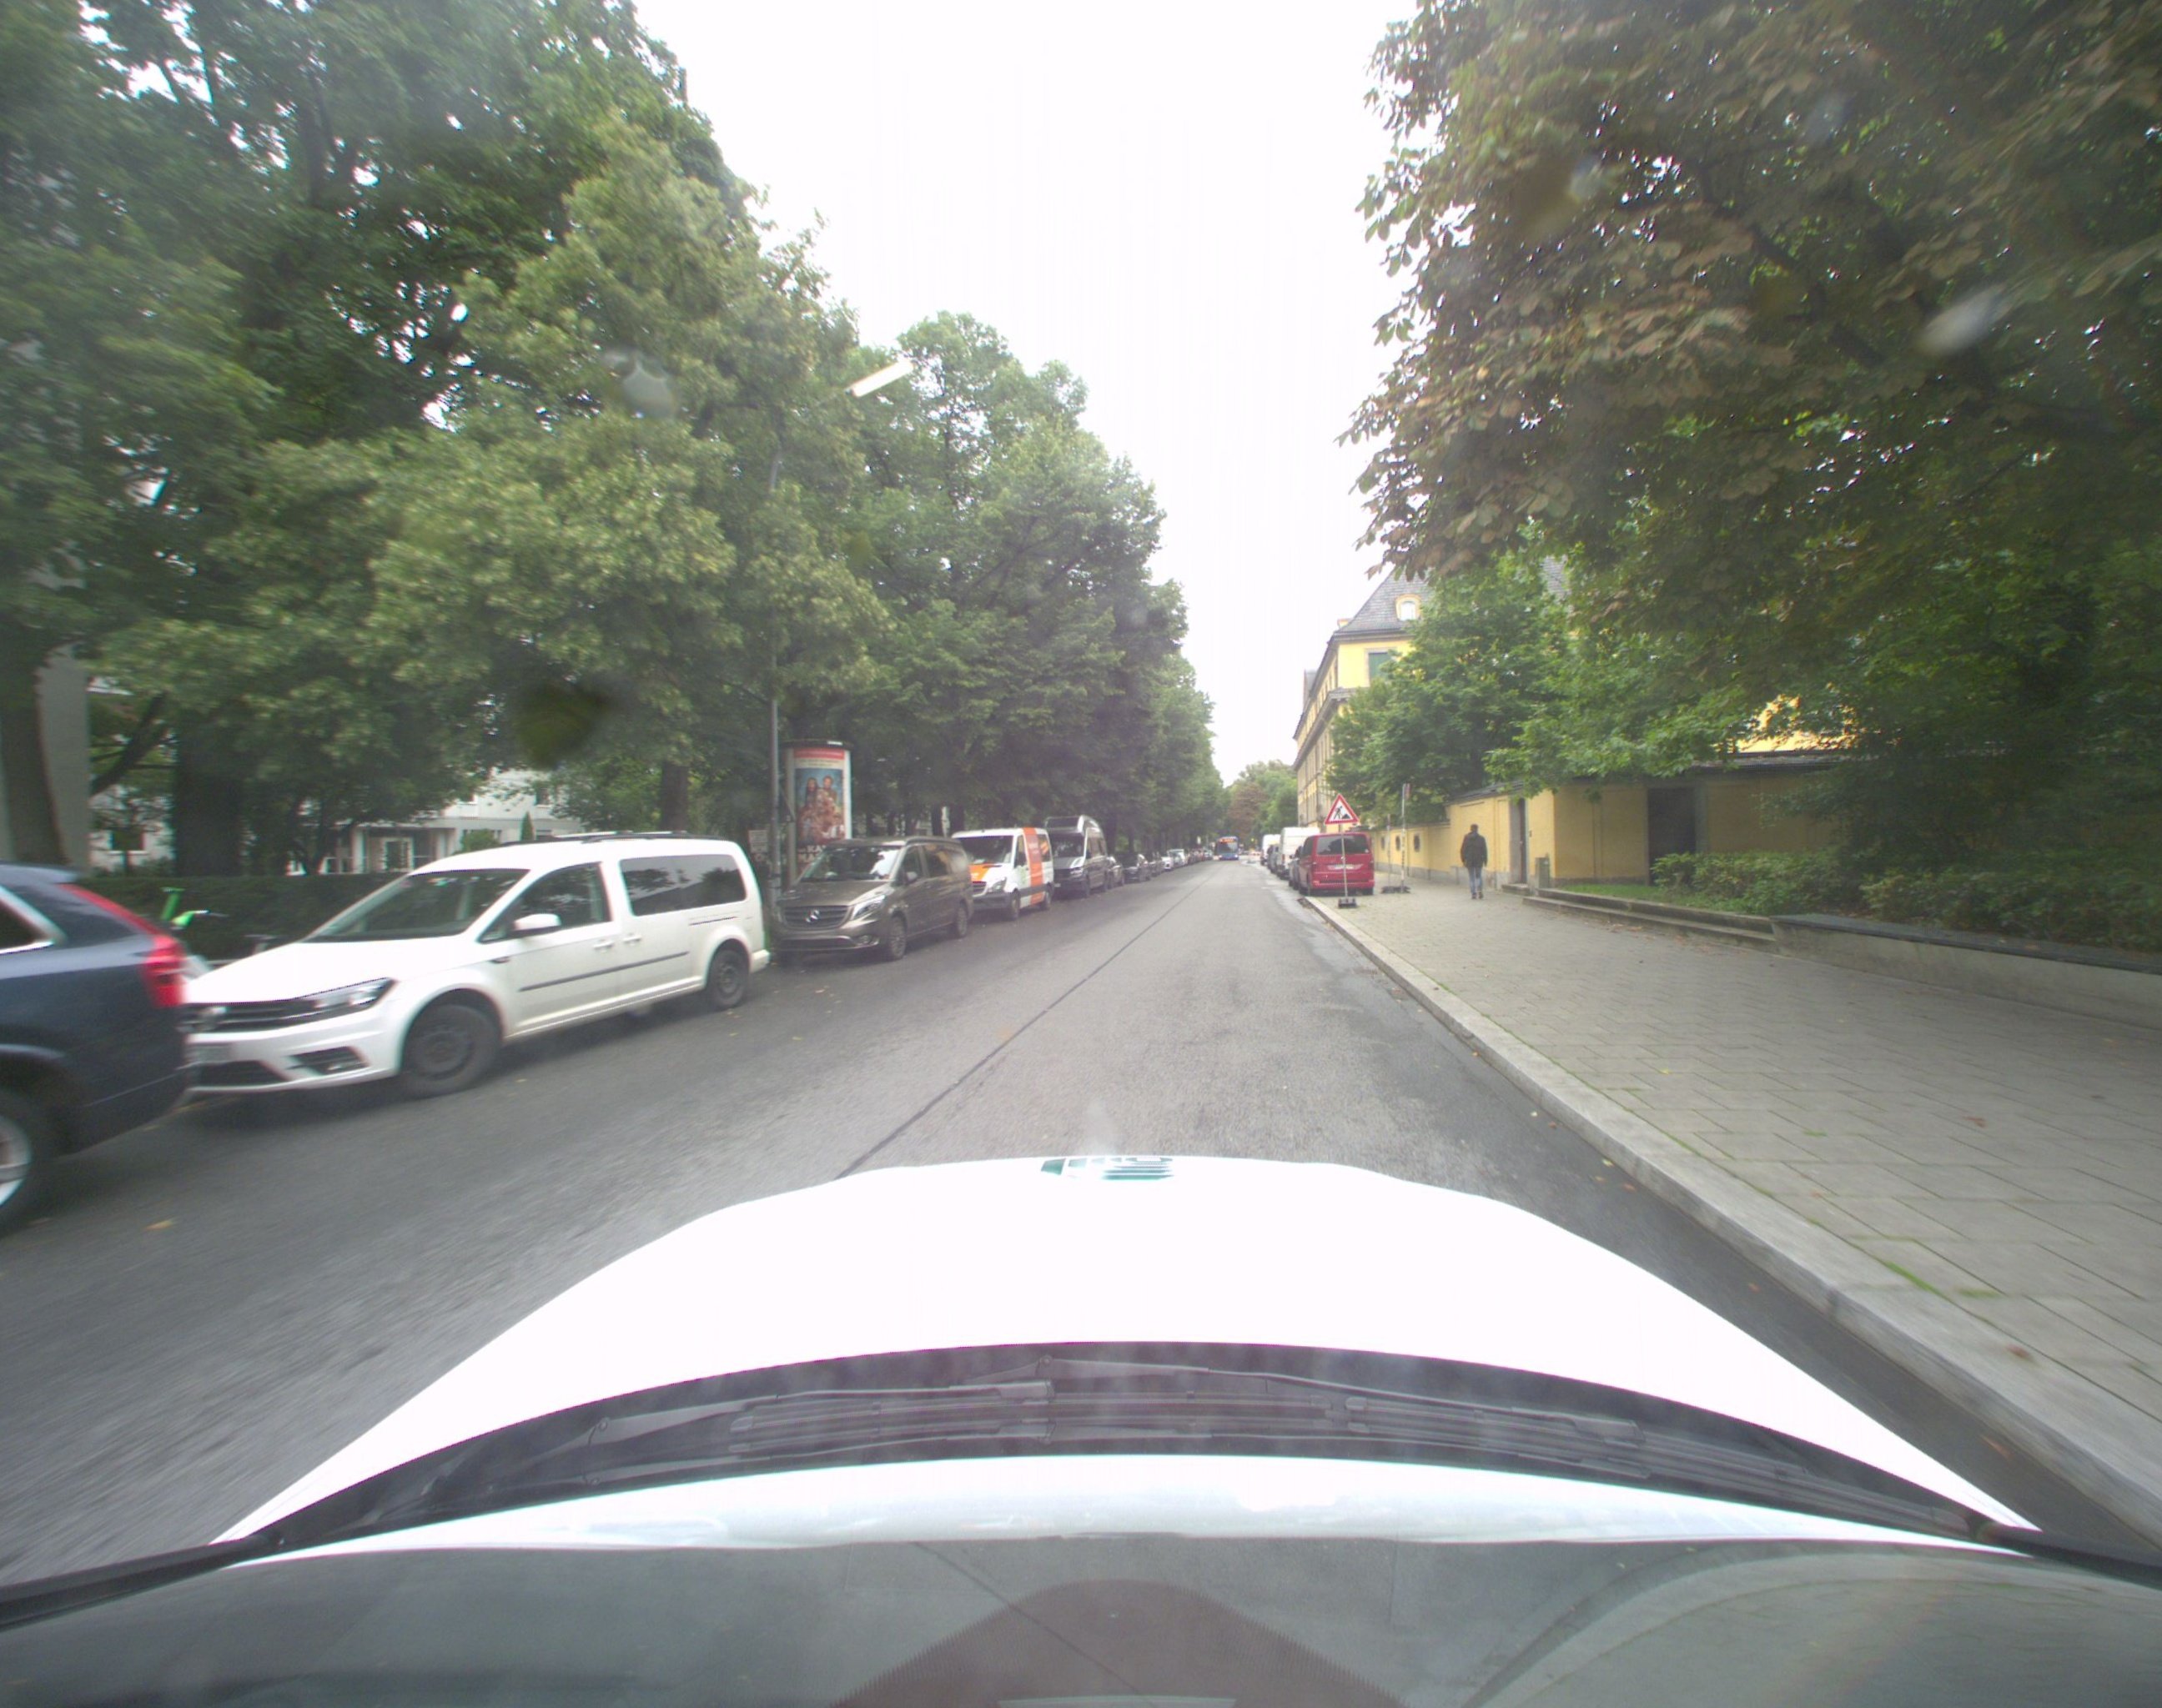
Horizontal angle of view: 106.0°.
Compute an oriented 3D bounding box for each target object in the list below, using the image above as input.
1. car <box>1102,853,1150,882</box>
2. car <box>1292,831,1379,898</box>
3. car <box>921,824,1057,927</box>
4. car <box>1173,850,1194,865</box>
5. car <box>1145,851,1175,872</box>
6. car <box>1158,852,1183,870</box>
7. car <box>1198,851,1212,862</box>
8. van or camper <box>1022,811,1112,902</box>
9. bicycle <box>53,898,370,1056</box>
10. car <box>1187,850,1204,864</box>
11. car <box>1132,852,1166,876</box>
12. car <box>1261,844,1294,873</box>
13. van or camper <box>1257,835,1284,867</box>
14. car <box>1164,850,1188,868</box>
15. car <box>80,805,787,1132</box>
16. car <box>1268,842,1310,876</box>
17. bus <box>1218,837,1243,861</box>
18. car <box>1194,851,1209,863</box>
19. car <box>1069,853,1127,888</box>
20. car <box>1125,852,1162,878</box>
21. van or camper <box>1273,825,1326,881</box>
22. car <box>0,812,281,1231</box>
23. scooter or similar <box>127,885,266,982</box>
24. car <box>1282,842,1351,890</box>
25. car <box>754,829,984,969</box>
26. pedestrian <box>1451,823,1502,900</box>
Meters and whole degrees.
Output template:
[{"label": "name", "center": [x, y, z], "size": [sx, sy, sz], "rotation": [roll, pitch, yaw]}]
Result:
[{"label": "car", "center": [2.337, 0.652, 41.160], "size": [1.862, 1.347, 4.012], "rotation": [-1, 0, 11]}, {"label": "car", "center": [7.899, 0.294, 25.724], "size": [1.979, 1.839, 4.727], "rotation": [-3, 0, 10]}, {"label": "car", "center": [-2.190, 0.477, 21.102], "size": [1.934, 2.272, 5.259], "rotation": [-3, 0, 11]}, {"label": "car", "center": [10.459, 0.372, 82.887], "size": [1.840, 1.473, 4.012], "rotation": [-1, 0, 11]}, {"label": "car", "center": [5.928, 0.550, 60.594], "size": [1.840, 1.473, 4.012], "rotation": [-1, 0, 11]}, {"label": "car", "center": [7.773, 0.550, 70.566], "size": [1.840, 1.473, 4.012], "rotation": [-1, 0, 11]}, {"label": "car", "center": [18.106, 0.385, 119.118], "size": [1.840, 1.473, 4.012], "rotation": [-1, 0, 11]}, {"label": "van or camper", "center": [-0.375, 0.079, 29.896], "size": [1.988, 2.945, 6.028], "rotation": [-3, 0, 11]}, {"label": "bicycle", "center": [-7.215, 0.988, 6.837], "size": [1.825, 1.149, 0.536], "rotation": [-2, 0, -11]}, {"label": "car", "center": [14.724, 0.317, 104.711], "size": [1.840, 1.701, 4.012], "rotation": [-1, 0, 11]}, {"label": "car", "center": [4.598, 0.654, 54.770], "size": [1.840, 1.473, 4.012], "rotation": [-1, 0, 11]}, {"label": "car", "center": [13.721, 0.310, 57.058], "size": [1.979, 1.844, 4.334], "rotation": [-3, 0, 10]}, {"label": "van or camper", "center": [16.856, -0.268, 72.690], "size": [2.102, 2.732, 5.259], "rotation": [-3, 0, 11]}, {"label": "car", "center": [8.909, 0.430, 76.185], "size": [1.840, 1.564, 4.012], "rotation": [-1, 0, 11]}, {"label": "car", "center": [-4.884, 0.694, 7.339], "size": [1.817, 1.918, 4.865], "rotation": [-3, 0, 12]}, {"label": "car", "center": [12.261, 0.297, 48.222], "size": [1.979, 1.844, 4.334], "rotation": [-3, 0, 10]}, {"label": "bus", "center": [20.256, -0.658, 109.770], "size": [2.695, 2.899, 14.603], "rotation": [-1, 0, 12]}, {"label": "car", "center": [16.727, 0.350, 113.243], "size": [1.840, 1.572, 4.012], "rotation": [-1, 0, 11]}, {"label": "car", "center": [0.792, 0.692, 35.784], "size": [1.862, 1.416, 4.012], "rotation": [-1, 0, 11]}, {"label": "car", "center": [3.878, 0.639, 49.694], "size": [1.841, 1.473, 4.011], "rotation": [-1, 0, 10]}, {"label": "van or camper", "center": [10.930, -0.059, 41.126], "size": [2.118, 2.546, 5.259], "rotation": [-3, 0, 11]}, {"label": "car", "center": [-5.947, 0.768, 2.279], "size": [1.980, 1.792, 4.931], "rotation": [-3, 0, 13]}, {"label": "scooter or similar", "center": [-12.045, 1.054, 11.132], "size": [0.395, 1.193, 1.220], "rotation": [-2, 0, 16]}, {"label": "car", "center": [8.846, 0.414, 30.916], "size": [1.979, 1.609, 4.334], "rotation": [-3, 0, 10]}, {"label": "car", "center": [-3.352, 0.644, 14.191], "size": [1.876, 1.933, 5.221], "rotation": [-3, 0, 9]}, {"label": "pedestrian", "center": [9.747, 0.179, 20.103], "size": [0.868, 1.831, 1.055], "rotation": [-2, 0, 12]}]
